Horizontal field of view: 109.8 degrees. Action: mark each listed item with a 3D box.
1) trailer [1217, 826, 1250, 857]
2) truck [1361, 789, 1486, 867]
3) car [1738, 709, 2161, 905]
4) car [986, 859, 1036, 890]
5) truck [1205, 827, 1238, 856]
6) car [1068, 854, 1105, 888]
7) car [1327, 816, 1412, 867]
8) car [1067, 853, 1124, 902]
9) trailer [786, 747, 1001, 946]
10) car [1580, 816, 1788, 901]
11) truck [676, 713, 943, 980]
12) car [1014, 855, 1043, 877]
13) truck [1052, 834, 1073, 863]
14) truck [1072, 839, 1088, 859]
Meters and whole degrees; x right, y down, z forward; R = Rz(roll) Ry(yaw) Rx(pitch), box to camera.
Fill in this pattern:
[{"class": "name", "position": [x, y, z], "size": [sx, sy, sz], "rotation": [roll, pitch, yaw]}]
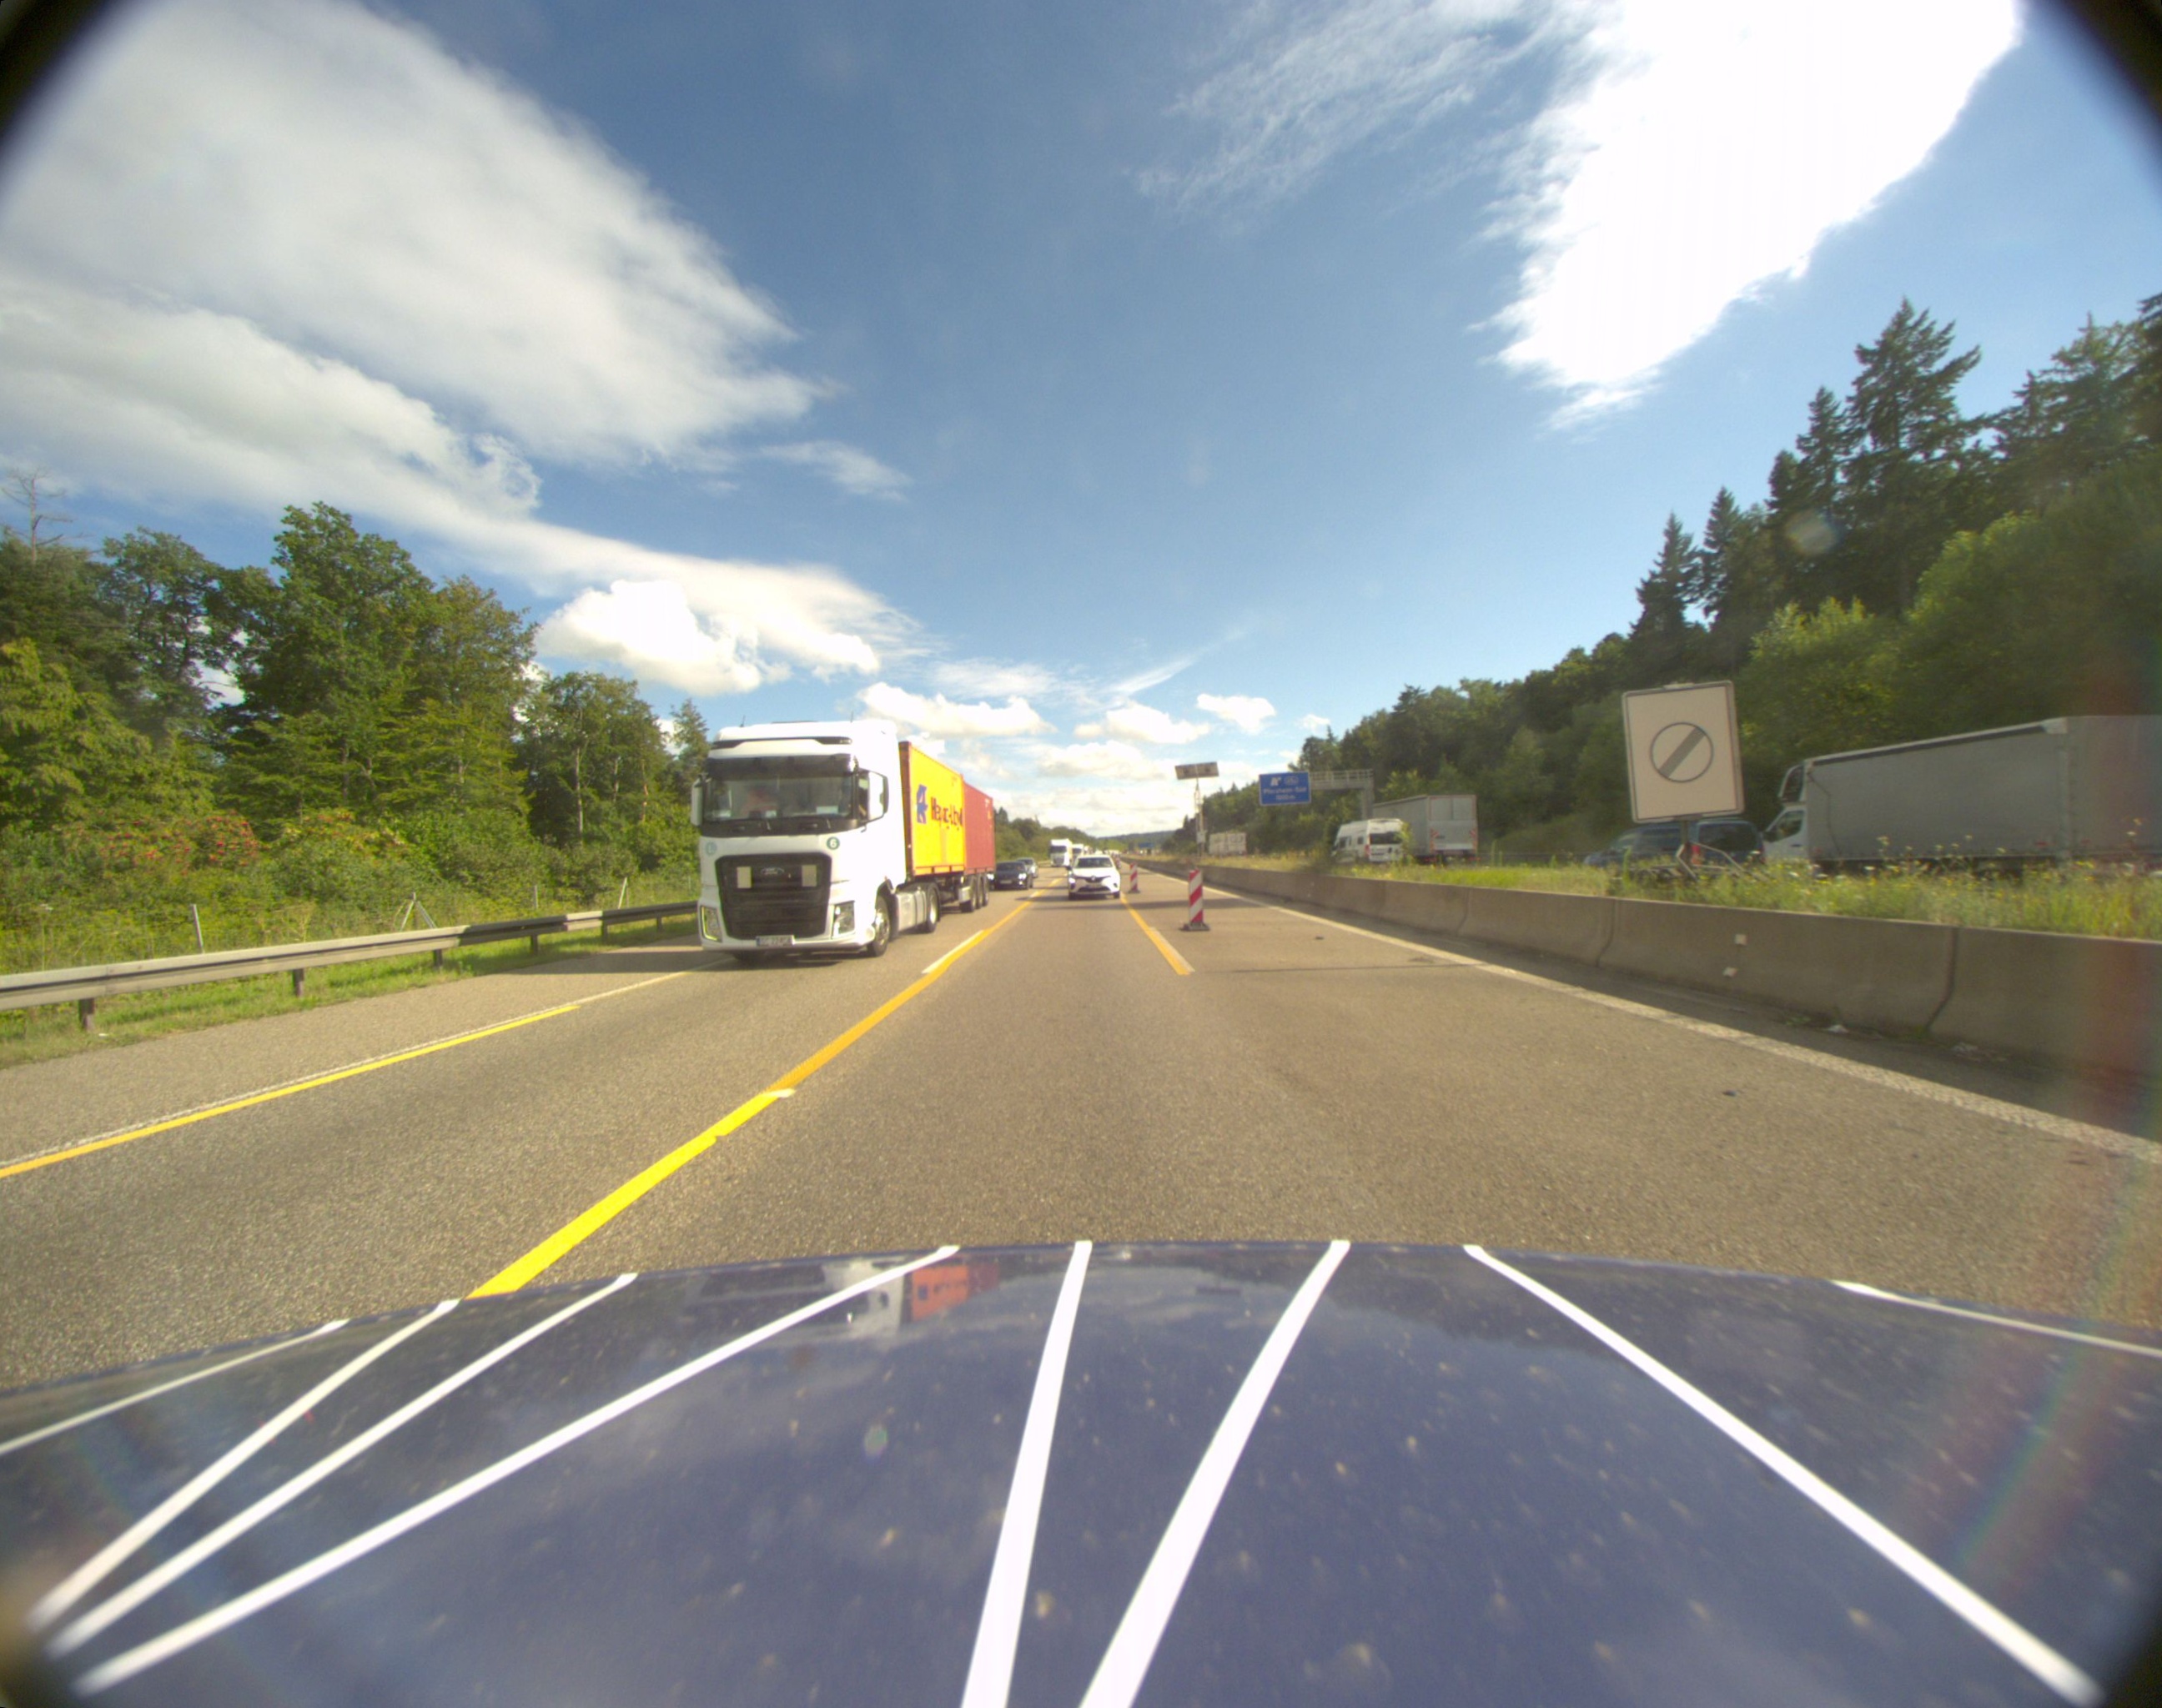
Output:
[{"class": "trailer", "position": [21.019, -1.706, 104.970], "size": [2.797, 3.901, 8.487], "rotation": [-2, 1, 1]}, {"class": "truck", "position": [19.698, -1.347, 44.648], "size": [2.807, 3.969, 10.185], "rotation": [-2, 0, 1]}, {"class": "car", "position": [19.019, -0.886, 16.808], "size": [2.493, 3.351, 7.451], "rotation": [-2, 1, 0]}, {"class": "car", "position": [-3.395, 0.968, 37.490], "size": [1.933, 1.342, 4.477], "rotation": [-2, 1, 1]}, {"class": "truck", "position": [21.095, -1.863, 114.665], "size": [2.789, 3.962, 10.860], "rotation": [-2, 1, 1]}, {"class": "car", "position": [0.311, 0.806, 37.645], "size": [1.692, 1.471, 3.754], "rotation": [-2, 1, 1]}, {"class": "car", "position": [15.210, -0.649, 40.519], "size": [2.165, 2.437, 6.331], "rotation": [-2, 0, 1]}, {"class": "car", "position": [0.457, 0.774, 27.231], "size": [1.840, 1.528, 3.882], "rotation": [-2, 1, -1]}, {"class": "trailer", "position": [-4.273, -0.173, 20.779], "size": [2.477, 3.753, 12.135], "rotation": [-2, 0, 1]}, {"class": "car", "position": [14.788, 0.078, 18.986], "size": [1.949, 1.802, 4.118], "rotation": [-2, 1, 1]}, {"class": "truck", "position": [-4.425, -0.123, 13.810], "size": [2.501, 3.759, 5.790], "rotation": [-2, 1, 1]}, {"class": "car", "position": [-3.830, 0.835, 56.192], "size": [1.762, 1.471, 3.967], "rotation": [-2, 1, 1]}, {"class": "truck", "position": [-2.750, -0.803, 113.302], "size": [2.641, 4.092, 8.195], "rotation": [-2, 0, 1]}, {"class": "truck", "position": [-0.164, -1.062, 163.988], "size": [2.640, 4.092, 8.197], "rotation": [-2, 0, 3]}]
